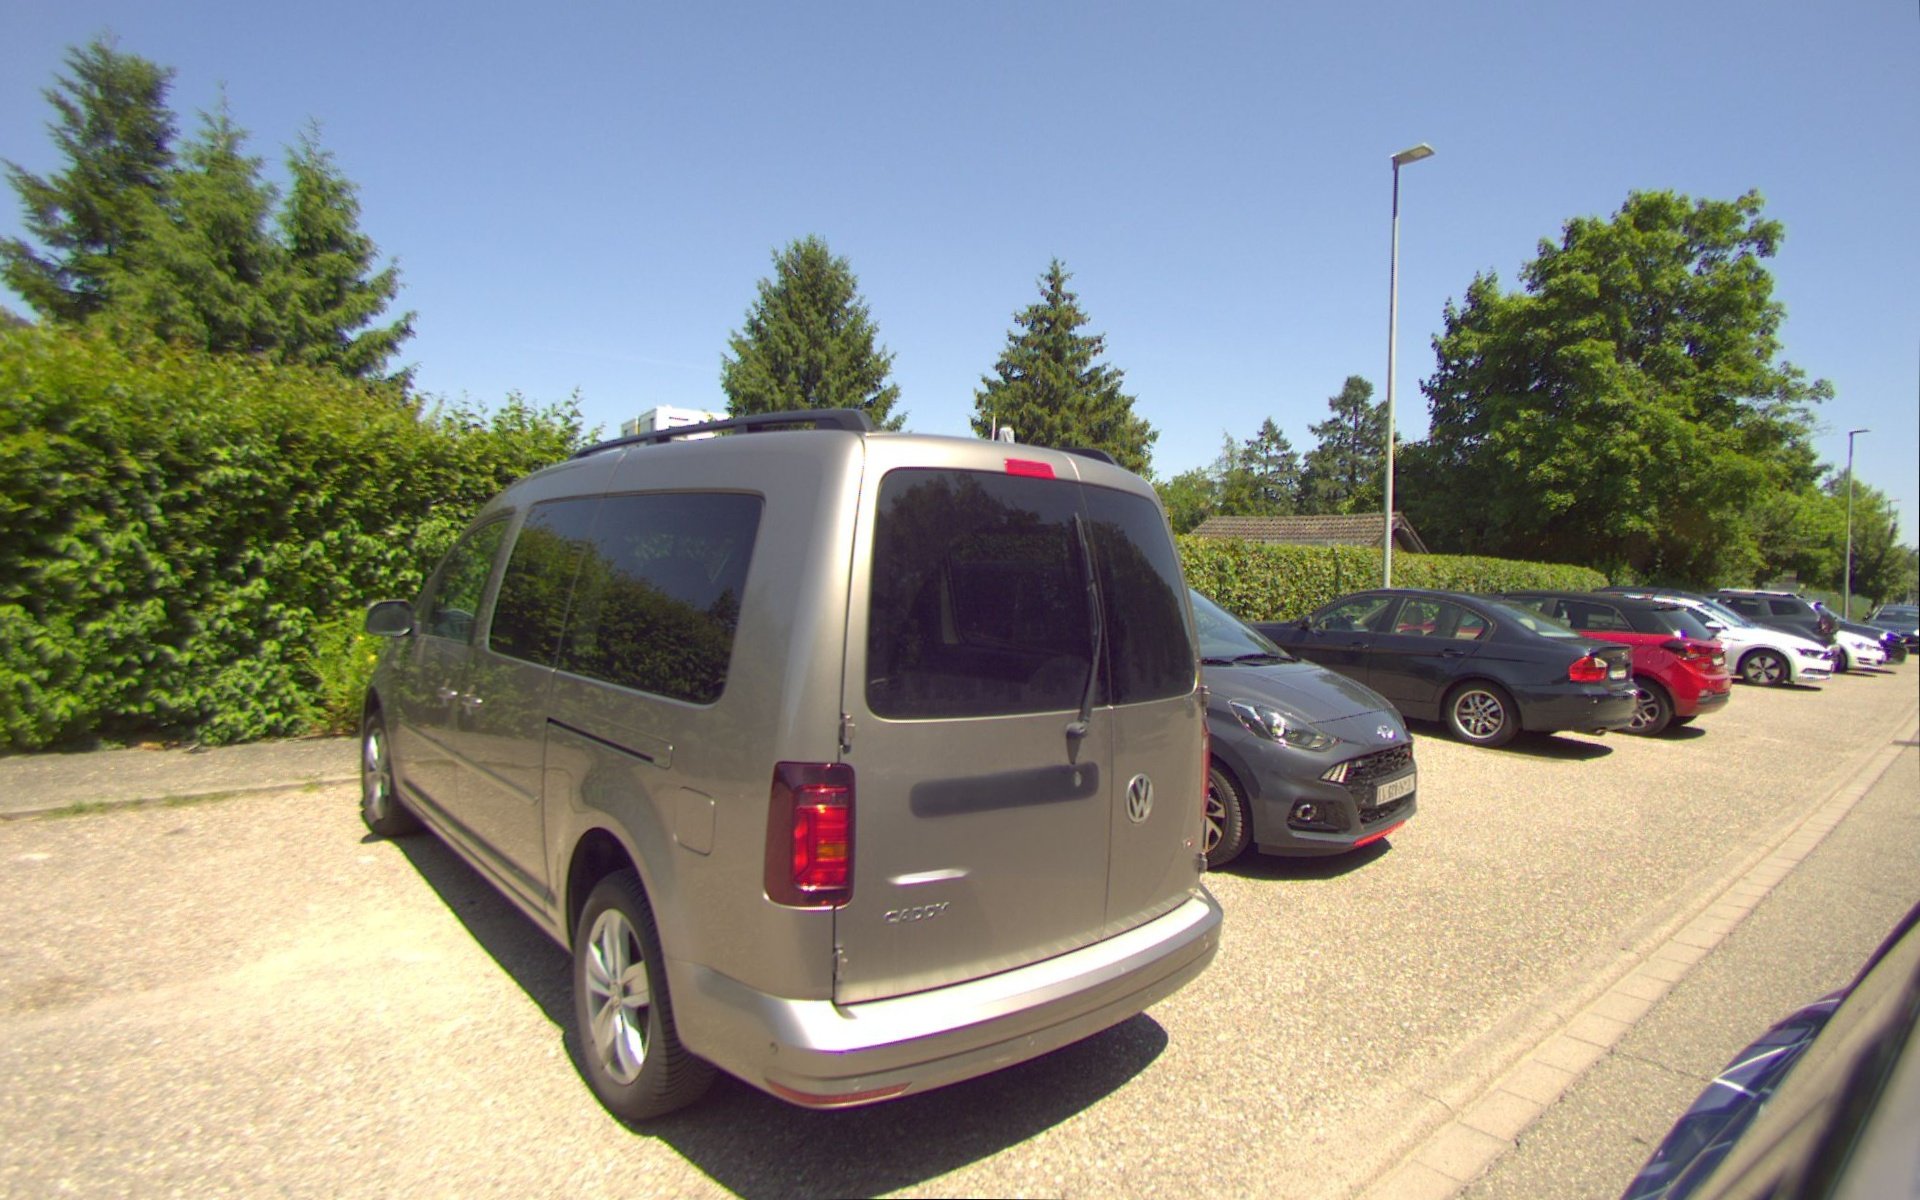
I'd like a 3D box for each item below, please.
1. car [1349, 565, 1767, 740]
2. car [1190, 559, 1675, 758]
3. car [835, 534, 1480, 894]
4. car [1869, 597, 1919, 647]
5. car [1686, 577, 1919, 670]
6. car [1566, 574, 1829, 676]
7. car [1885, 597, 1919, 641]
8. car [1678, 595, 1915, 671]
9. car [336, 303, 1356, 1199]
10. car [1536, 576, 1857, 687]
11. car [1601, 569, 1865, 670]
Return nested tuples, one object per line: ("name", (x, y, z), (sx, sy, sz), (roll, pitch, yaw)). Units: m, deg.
("car", (7.081, 0.492, 12.297), (1.813, 1.496, 3.929), (1, 5, -42))
("car", (4.761, 0.445, 10.711), (1.809, 1.405, 4.213), (1, 5, -42))
("car", (1.062, 0.440, 6.456), (3.578, 1.520, 1.812), (6, 4, 44))
("car", (32.440, 0.743, 34.533), (1.791, 1.499, 4.589), (8, 5, 44))
("car", (21.136, 0.523, 25.268), (1.881, 1.724, 4.480), (1, 5, -43))
("car", (15.052, 0.433, 20.799), (1.729, 1.567, 4.055), (1, 5, -45))
("car", (37.318, 0.762, 39.385), (1.790, 1.623, 4.063), (4, 2, 44))
("car", (19.279, 0.703, 23.452), (1.800, 1.470, 4.002), (1, 2, -43))
("car", (-1.046, 0.269, 4.281), (1.961, 1.871, 4.631), (1, 2, -41))
("car", (13.644, 0.482, 18.954), (4.563, 1.456, 1.930), (8, 5, 44))
("car", (17.002, 0.353, 22.436), (1.821, 1.718, 4.268), (1, 5, -41))
